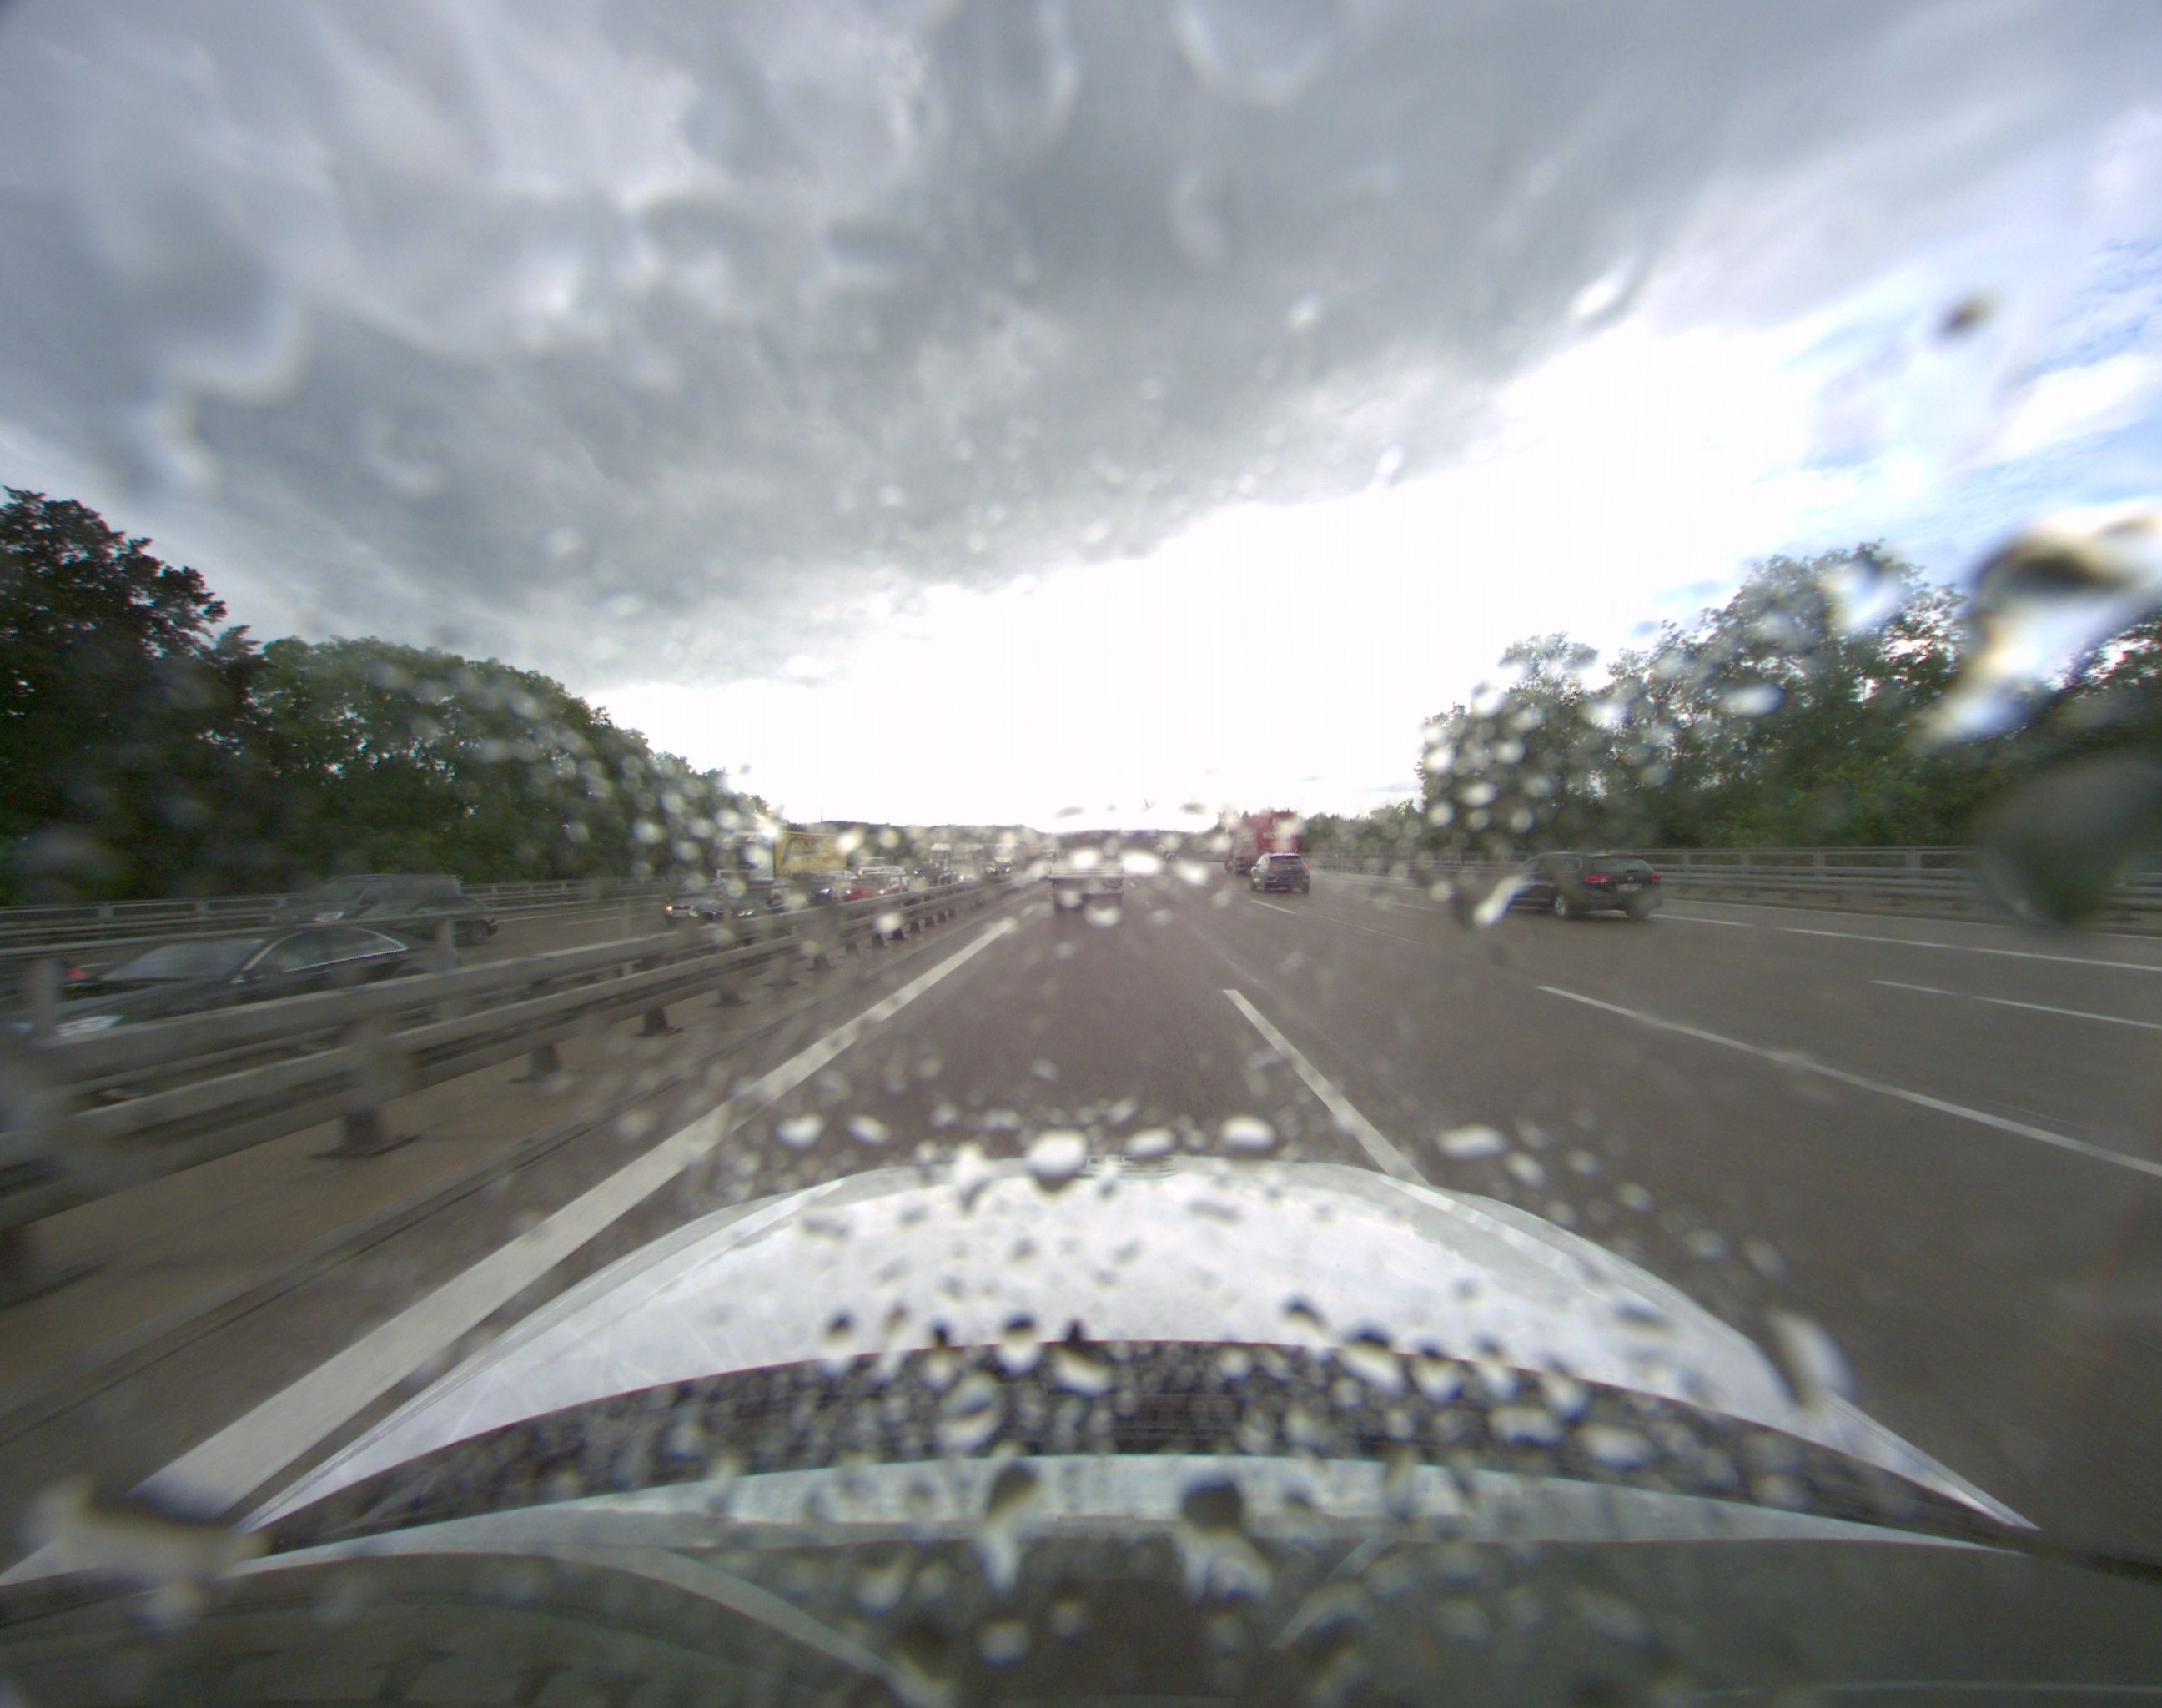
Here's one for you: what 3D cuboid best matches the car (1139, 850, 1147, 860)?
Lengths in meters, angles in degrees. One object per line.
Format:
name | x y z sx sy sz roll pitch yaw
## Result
car | 16.610 0.308 219.168 2.036 2.498 4.004 -1 0 4

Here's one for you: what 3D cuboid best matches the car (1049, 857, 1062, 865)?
car | -4.773 1.363 153.328 1.915 1.419 5.014 -2 0 2

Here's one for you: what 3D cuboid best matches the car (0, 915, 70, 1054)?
car | -13.828 1.618 8.132 1.857 1.612 4.462 -2 0 -1

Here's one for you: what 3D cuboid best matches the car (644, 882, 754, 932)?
car | -13.458 1.825 29.034 1.811 1.425 4.475 -2 0 -1

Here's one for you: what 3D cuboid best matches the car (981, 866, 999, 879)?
car | -11.022 2.227 98.852 1.595 1.387 4.102 -2 0 2

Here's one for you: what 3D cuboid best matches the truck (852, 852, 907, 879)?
truck | -19.283 1.090 78.610 2.670 2.371 9.279 -2 0 2

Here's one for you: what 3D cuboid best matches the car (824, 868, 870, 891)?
car | -15.864 1.708 55.385 1.816 1.438 4.053 -2 0 1

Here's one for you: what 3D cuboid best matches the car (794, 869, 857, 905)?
car | -12.916 1.632 41.483 1.774 1.612 4.576 -2 0 -1

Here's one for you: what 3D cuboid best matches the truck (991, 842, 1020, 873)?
truck | -10.639 0.463 115.509 2.869 4.180 7.560 -2 0 2

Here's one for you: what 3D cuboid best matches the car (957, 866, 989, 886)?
car | -8.276 1.638 62.639 1.756 1.383 4.820 -2 0 0

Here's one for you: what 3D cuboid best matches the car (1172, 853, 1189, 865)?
car | 14.956 0.736 122.727 2.098 1.605 5.066 -1 0 1

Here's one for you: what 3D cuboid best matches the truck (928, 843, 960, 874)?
truck | -18.564 0.572 110.602 2.747 3.993 6.583 -2 0 4

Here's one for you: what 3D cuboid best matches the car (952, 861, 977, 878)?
car | -11.755 1.582 82.549 1.742 1.577 4.689 -2 0 0

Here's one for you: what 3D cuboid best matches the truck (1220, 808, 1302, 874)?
truck | 12.338 -0.805 57.581 3.139 4.003 15.649 -1 0 3

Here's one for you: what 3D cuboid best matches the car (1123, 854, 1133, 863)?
car | 9.632 0.861 167.497 1.965 1.699 4.000 -1 0 0

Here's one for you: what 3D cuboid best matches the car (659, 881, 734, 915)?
car | -17.146 1.927 36.500 1.443 1.300 3.998 -2 0 -1

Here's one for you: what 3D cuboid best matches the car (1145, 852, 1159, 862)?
car | 12.302 0.517 141.267 2.090 1.699 4.000 -1 0 0

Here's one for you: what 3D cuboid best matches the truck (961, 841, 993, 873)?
truck | -14.192 0.444 111.496 2.891 4.147 7.109 -2 0 4

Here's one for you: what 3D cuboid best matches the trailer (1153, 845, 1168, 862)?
trailer | 19.830 -0.102 203.542 3.318 4.176 11.850 -1 0 4

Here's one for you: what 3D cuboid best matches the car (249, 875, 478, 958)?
car | -20.967 1.726 24.227 1.987 2.013 5.411 -2 0 0

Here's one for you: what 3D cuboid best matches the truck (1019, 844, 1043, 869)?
truck | -8.844 0.401 145.086 2.972 4.149 12.529 -2 0 2

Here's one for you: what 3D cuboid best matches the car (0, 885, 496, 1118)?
car | -10.242 1.447 10.070 1.860 1.826 5.707 -2 0 0

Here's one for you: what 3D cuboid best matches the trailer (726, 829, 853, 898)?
trailer | -20.368 0.594 58.467 3.235 4.228 14.516 -2 0 2

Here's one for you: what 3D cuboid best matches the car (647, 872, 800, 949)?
car | -9.579 1.432 22.380 1.861 1.669 5.173 -2 0 0

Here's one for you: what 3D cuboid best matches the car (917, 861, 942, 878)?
car | -15.048 1.545 81.156 1.527 1.596 4.002 -2 0 2

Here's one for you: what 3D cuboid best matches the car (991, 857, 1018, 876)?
car | -7.624 1.174 81.370 1.906 1.766 5.334 -2 0 2

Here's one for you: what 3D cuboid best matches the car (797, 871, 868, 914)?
car | -11.363 1.720 37.507 1.850 1.708 4.001 -2 0 2

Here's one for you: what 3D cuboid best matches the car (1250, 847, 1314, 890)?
car | 7.938 0.560 32.494 1.785 1.562 3.724 -1 0 3

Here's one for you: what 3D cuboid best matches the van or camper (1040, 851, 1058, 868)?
van or camper | -5.024 0.902 129.072 2.269 2.496 7.306 -2 0 2

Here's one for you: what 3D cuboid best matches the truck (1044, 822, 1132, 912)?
truck | 0.233 0.341 25.592 2.345 2.408 7.358 -1 0 1

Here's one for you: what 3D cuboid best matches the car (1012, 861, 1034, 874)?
car | -7.106 1.663 100.257 2.007 1.387 5.462 -2 0 2

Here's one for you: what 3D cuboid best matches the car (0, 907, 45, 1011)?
car | -17.870 1.692 11.124 1.722 1.612 4.461 -2 0 -1

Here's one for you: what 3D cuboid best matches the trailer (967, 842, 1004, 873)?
trailer | -13.701 0.459 118.644 2.868 4.145 13.041 -2 0 4

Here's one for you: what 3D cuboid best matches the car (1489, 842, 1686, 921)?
car | 11.269 0.551 18.556 1.809 1.543 4.358 -1 0 1

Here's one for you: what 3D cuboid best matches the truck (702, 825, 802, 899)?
truck | -20.638 0.481 51.635 3.235 4.250 6.885 -2 0 2

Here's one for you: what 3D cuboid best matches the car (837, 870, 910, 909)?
car | -9.116 1.523 36.240 1.988 1.463 4.841 -2 0 0

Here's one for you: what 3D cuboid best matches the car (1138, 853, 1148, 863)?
car | 12.068 0.769 158.600 2.036 1.699 4.004 -1 0 3

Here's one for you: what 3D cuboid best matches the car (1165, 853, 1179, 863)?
car | 16.246 0.775 145.646 2.037 1.699 5.009 -1 0 2

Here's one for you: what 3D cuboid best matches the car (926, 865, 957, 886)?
car | -11.307 1.743 66.295 1.742 1.577 4.418 -2 0 0

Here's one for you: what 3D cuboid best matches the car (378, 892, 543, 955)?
car | -17.476 1.892 23.210 1.628 1.418 3.998 -2 0 -1

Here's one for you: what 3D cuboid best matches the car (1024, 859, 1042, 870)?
car | -6.616 1.422 112.524 1.915 1.419 5.167 -2 0 2

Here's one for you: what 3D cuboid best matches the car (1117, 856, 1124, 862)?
car | 11.808 1.495 243.917 1.806 1.446 4.001 -2 0 1

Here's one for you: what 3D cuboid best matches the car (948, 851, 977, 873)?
car | -14.371 0.945 98.954 2.148 2.504 6.776 -2 0 2
